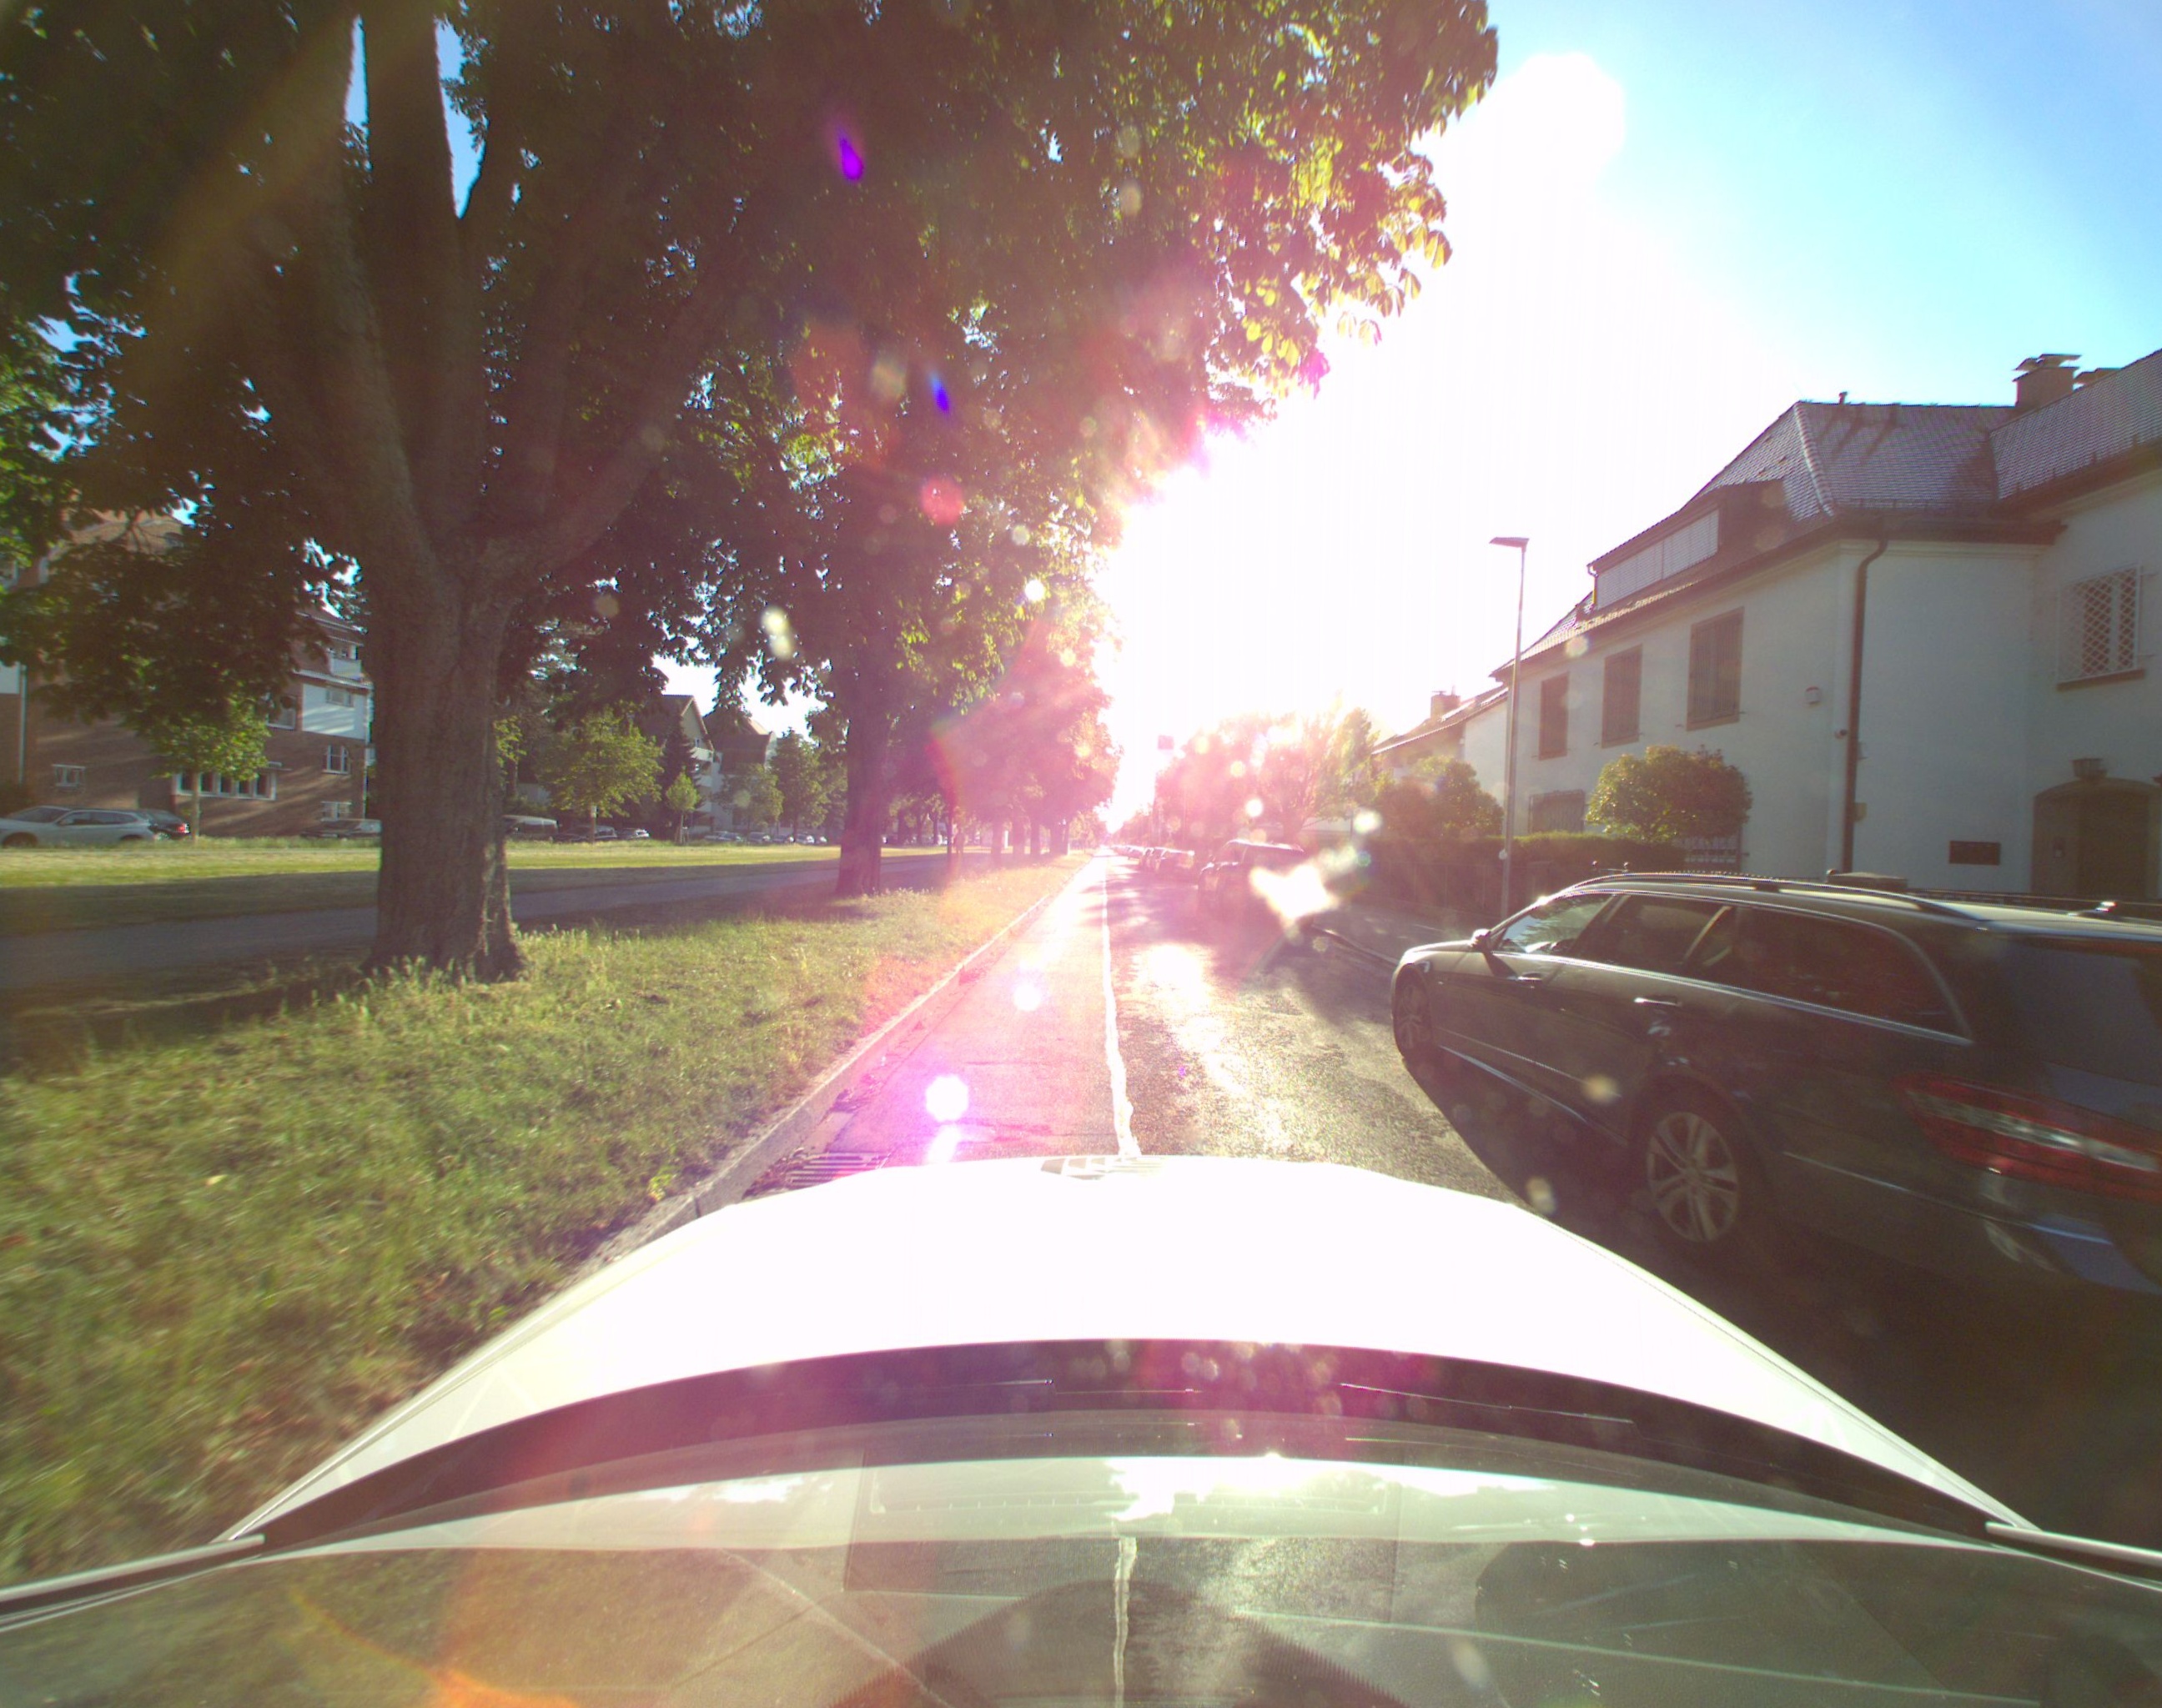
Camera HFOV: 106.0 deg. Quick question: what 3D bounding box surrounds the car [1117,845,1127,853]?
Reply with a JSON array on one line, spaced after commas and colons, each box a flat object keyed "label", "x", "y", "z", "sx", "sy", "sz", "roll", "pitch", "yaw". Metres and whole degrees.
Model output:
[{"label": "car", "x": 9.109, "y": -1.143, "z": 181.420, "sx": 1.985, "sy": 1.629, "sz": 4.003, "roll": 2, "pitch": 0, "yaw": 3}]

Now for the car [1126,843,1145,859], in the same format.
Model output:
[{"label": "car", "x": 6.046, "y": -0.348, "z": 90.825, "sx": 1.750, "sy": 1.419, "sz": 4.074, "roll": 8, "pitch": 1, "yaw": 2}]

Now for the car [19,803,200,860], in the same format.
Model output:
[{"label": "car", "x": -37.882, "y": -0.877, "z": 31.960, "sx": 1.750, "sy": 2.013, "sz": 4.371, "roll": 2, "pitch": 1, "yaw": 2}]

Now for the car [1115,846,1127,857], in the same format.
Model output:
[{"label": "car", "x": 6.529, "y": -0.431, "z": 134.624, "sx": 1.753, "sy": 1.605, "sz": 4.359, "roll": 2, "pitch": 1, "yaw": 0}]

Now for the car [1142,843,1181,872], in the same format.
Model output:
[{"label": "car", "x": 4.757, "y": 0.196, "z": 48.542, "sx": 1.687, "sy": 1.482, "sz": 3.926, "roll": 6, "pitch": 1, "yaw": -2}]

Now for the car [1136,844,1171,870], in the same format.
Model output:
[{"label": "car", "x": 4.737, "y": 0.163, "z": 53.556, "sx": 1.744, "sy": 1.476, "sz": 4.287, "roll": 4, "pitch": 1, "yaw": -1}]

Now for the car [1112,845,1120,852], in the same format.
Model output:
[{"label": "car", "x": 9.281, "y": -1.457, "z": 215.969, "sx": 1.972, "sy": 1.682, "sz": 4.003, "roll": 2, "pitch": 0, "yaw": 3}]

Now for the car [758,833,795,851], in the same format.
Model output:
[{"label": "car", "x": -31.252, "y": -1.229, "z": 83.721, "sx": 1.985, "sy": 1.721, "sz": 4.258, "roll": 3, "pitch": 0, "yaw": 3}]

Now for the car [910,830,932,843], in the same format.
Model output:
[{"label": "car", "x": -28.915, "y": -3.175, "z": 147.264, "sx": 2.525, "sy": 2.236, "sz": 5.462, "roll": 2, "pitch": 1, "yaw": 2}]

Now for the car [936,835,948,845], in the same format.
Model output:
[{"label": "car", "x": -33.495, "y": -3.436, "z": 196.464, "sx": 1.986, "sy": 2.409, "sz": 4.365, "roll": 0, "pitch": 0, "yaw": 2}]

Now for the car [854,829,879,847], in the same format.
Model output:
[{"label": "car", "x": -35.414, "y": -2.566, "z": 134.787, "sx": 2.428, "sy": 2.922, "sz": 5.820, "roll": 0, "pitch": 0, "yaw": 2}]

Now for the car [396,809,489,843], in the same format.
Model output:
[{"label": "car", "x": -37.735, "y": -1.634, "z": 48.284, "sx": 1.809, "sy": 1.837, "sz": 4.411, "roll": 2, "pitch": 1, "yaw": 2}]

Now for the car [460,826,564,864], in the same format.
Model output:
[{"label": "car", "x": -32.235, "y": -0.523, "z": 46.385, "sx": 1.985, "sy": 1.940, "sz": 5.250, "roll": 2, "pitch": 1, "yaw": 3}]

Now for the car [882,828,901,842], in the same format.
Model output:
[{"label": "car", "x": -29.907, "y": -3.012, "z": 128.579, "sx": 1.678, "sy": 2.175, "sz": 4.318, "roll": 3, "pitch": 1, "yaw": 3}]

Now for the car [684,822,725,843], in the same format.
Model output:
[{"label": "car", "x": -37.184, "y": -2.098, "z": 80.440, "sx": 2.023, "sy": 2.013, "sz": 4.003, "roll": 0, "pitch": 0, "yaw": 2}]

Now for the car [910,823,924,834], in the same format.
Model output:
[{"label": "car", "x": -34.608, "y": -5.417, "z": 172.023, "sx": 1.988, "sy": 2.013, "sz": 4.483, "roll": -6, "pitch": 0, "yaw": -1}]

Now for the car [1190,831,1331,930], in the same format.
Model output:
[{"label": "car", "x": 3.871, "y": 0.491, "z": 18.518, "sx": 1.987, "sy": 1.737, "sz": 4.864, "roll": 6, "pitch": 1, "yaw": 0}]

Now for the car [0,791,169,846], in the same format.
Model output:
[{"label": "car", "x": -32.806, "y": -1.117, "z": 26.099, "sx": 1.812, "sy": 1.639, "sz": 4.652, "roll": 2, "pitch": 1, "yaw": 1}]

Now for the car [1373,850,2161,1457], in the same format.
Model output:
[{"label": "car", "x": 3.271, "y": 0.805, "z": 4.350, "sx": 1.773, "sy": 1.462, "sz": 4.595, "roll": 5, "pitch": 1, "yaw": 1}]

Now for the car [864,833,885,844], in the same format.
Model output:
[{"label": "car", "x": -29.893, "y": -2.226, "z": 117.994, "sx": 1.678, "sy": 1.559, "sz": 4.317, "roll": 2, "pitch": 0, "yaw": 3}]

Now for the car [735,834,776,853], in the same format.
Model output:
[{"label": "car", "x": -31.177, "y": -0.984, "z": 78.108, "sx": 1.985, "sy": 1.683, "sz": 4.005, "roll": 3, "pitch": 0, "yaw": 4}]

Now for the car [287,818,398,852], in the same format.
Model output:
[{"label": "car", "x": -38.492, "y": -0.957, "z": 42.609, "sx": 1.750, "sy": 1.623, "sz": 4.308, "roll": 2, "pitch": 1, "yaw": 2}]

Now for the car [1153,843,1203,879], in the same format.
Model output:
[{"label": "car", "x": 4.487, "y": 0.293, "z": 38.241, "sx": 1.787, "sy": 1.492, "sz": 4.675, "roll": 3, "pitch": 0, "yaw": 1}]

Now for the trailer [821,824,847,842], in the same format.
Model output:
[{"label": "trailer", "x": -35.737, "y": -2.985, "z": 118.014, "sx": 1.986, "sy": 2.428, "sz": 4.726, "roll": 2, "pitch": 0, "yaw": 2}]

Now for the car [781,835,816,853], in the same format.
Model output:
[{"label": "car", "x": -30.964, "y": -1.103, "z": 89.355, "sx": 1.985, "sy": 1.860, "sz": 4.258, "roll": 3, "pitch": 0, "yaw": 3}]

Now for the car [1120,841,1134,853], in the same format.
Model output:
[{"label": "car", "x": 6.443, "y": -1.013, "z": 114.178, "sx": 1.753, "sy": 1.605, "sz": 4.359, "roll": 2, "pitch": 1, "yaw": 0}]

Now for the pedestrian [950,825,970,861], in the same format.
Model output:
[{"label": "pedestrian", "x": -6.115, "y": -0.550, "z": 41.225, "sx": 0.720, "sy": 1.757, "sz": 0.995, "roll": 2, "pitch": 1, "yaw": 8}]

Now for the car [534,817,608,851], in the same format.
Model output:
[{"label": "car", "x": -32.464, "y": -1.252, "z": 52.008, "sx": 1.986, "sy": 2.013, "sz": 4.002, "roll": 4, "pitch": 1, "yaw": 2}]
